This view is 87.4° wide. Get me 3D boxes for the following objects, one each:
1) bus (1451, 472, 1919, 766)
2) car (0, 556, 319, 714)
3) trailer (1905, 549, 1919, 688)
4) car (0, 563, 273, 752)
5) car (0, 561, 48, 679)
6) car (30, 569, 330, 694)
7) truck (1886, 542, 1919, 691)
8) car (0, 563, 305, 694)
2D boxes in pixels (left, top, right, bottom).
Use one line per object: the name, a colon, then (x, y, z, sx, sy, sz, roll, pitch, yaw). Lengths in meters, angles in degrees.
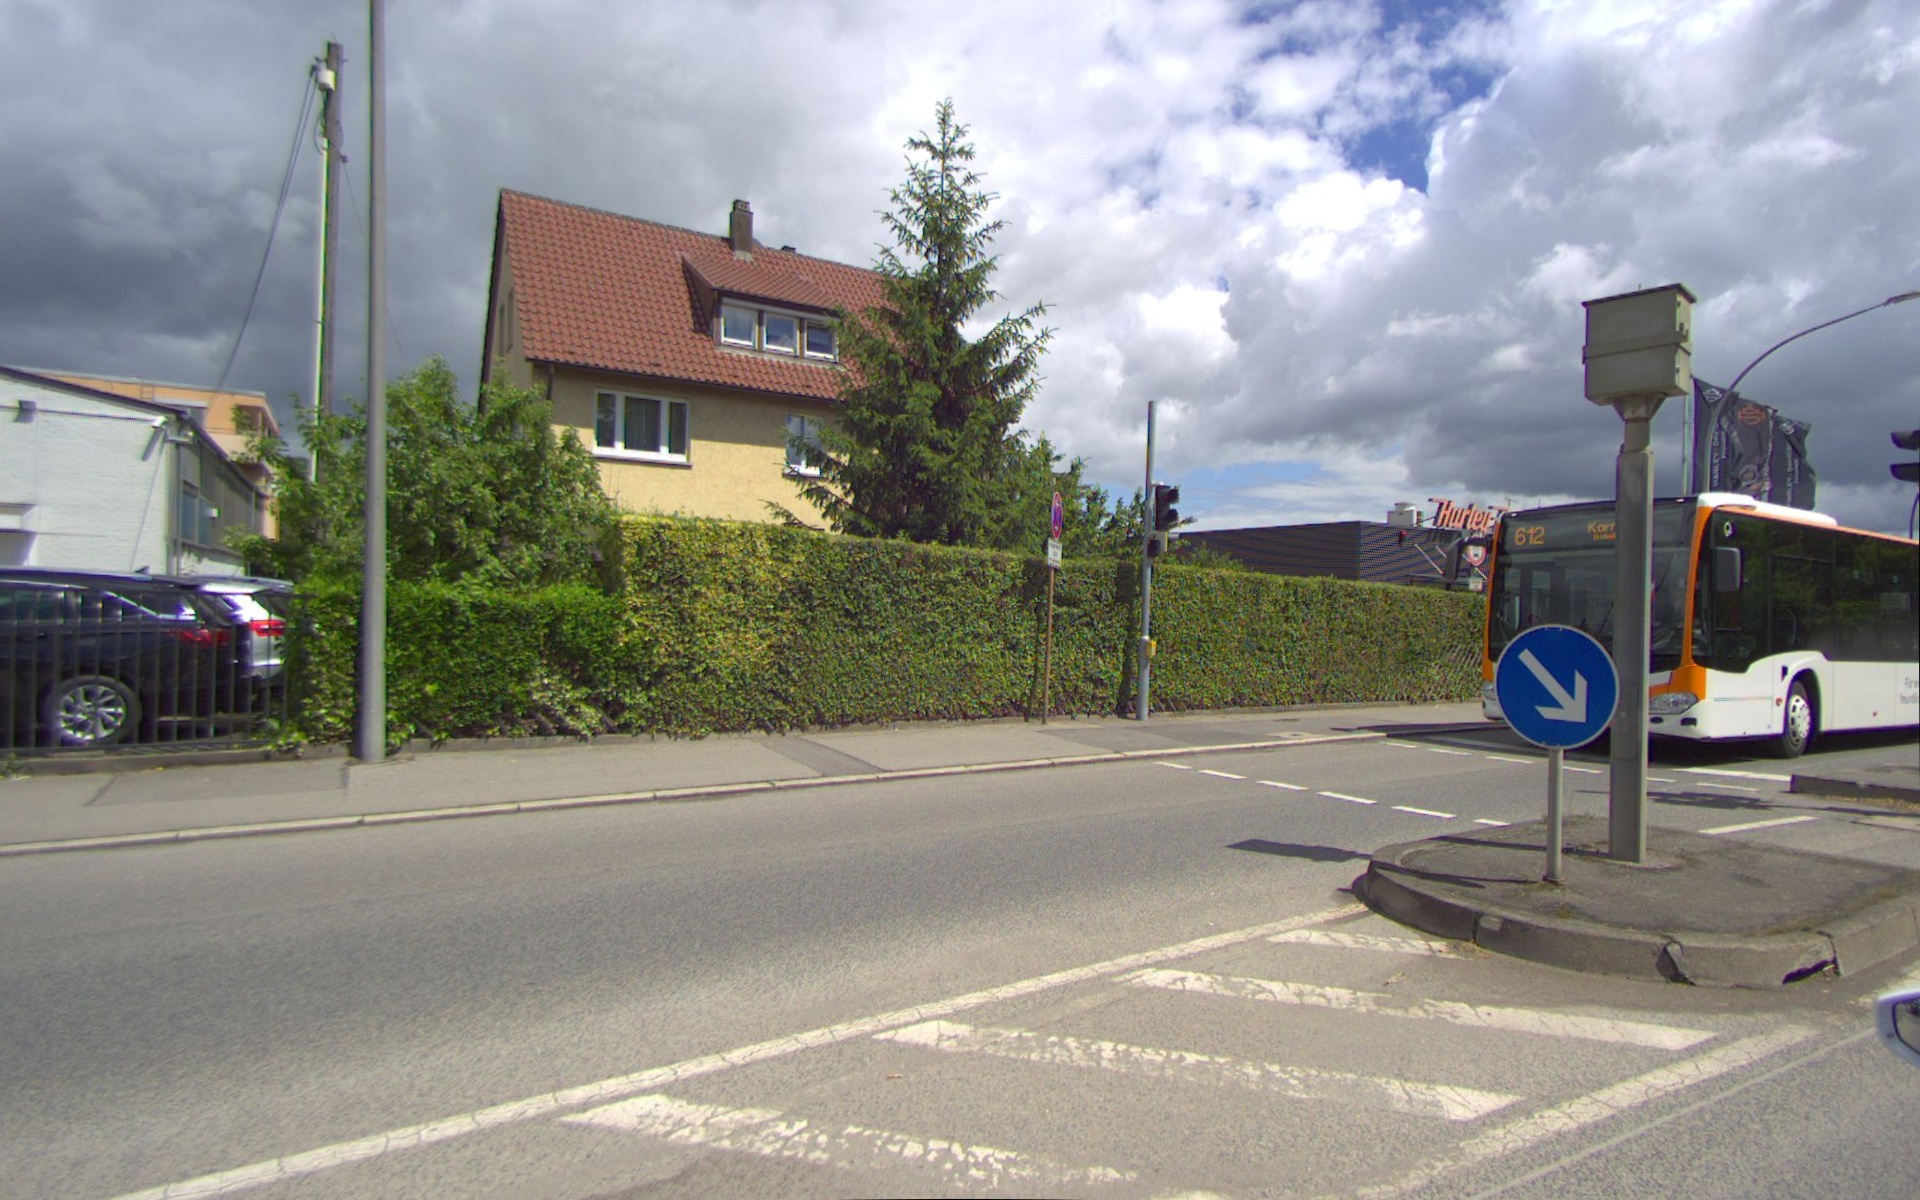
bus: (12.179, 0.423, 14.765, 12.123, 3.071, 2.706, 2, -2, -31)
car: (-9.525, 0.356, 11.092, 3.952, 1.561, 1.984, 2, 0, -30)
trailer: (35.070, 0.825, 33.776, 15.425, 4.107, 2.776, 2, 0, -39)
car: (-8.401, 0.434, 8.571, 3.996, 1.502, 1.850, 2, 0, -30)
car: (-18.656, 0.273, 17.287, 3.952, 2.040, 1.984, 2, 0, -30)
car: (-13.873, 0.570, 18.218, 3.952, 2.040, 1.984, 2, 0, -30)
truck: (29.430, 0.581, 29.181, 6.446, 4.107, 2.776, 2, 0, -39)
car: (-11.199, 0.364, 13.389, 3.952, 1.569, 1.984, 2, 0, -30)
